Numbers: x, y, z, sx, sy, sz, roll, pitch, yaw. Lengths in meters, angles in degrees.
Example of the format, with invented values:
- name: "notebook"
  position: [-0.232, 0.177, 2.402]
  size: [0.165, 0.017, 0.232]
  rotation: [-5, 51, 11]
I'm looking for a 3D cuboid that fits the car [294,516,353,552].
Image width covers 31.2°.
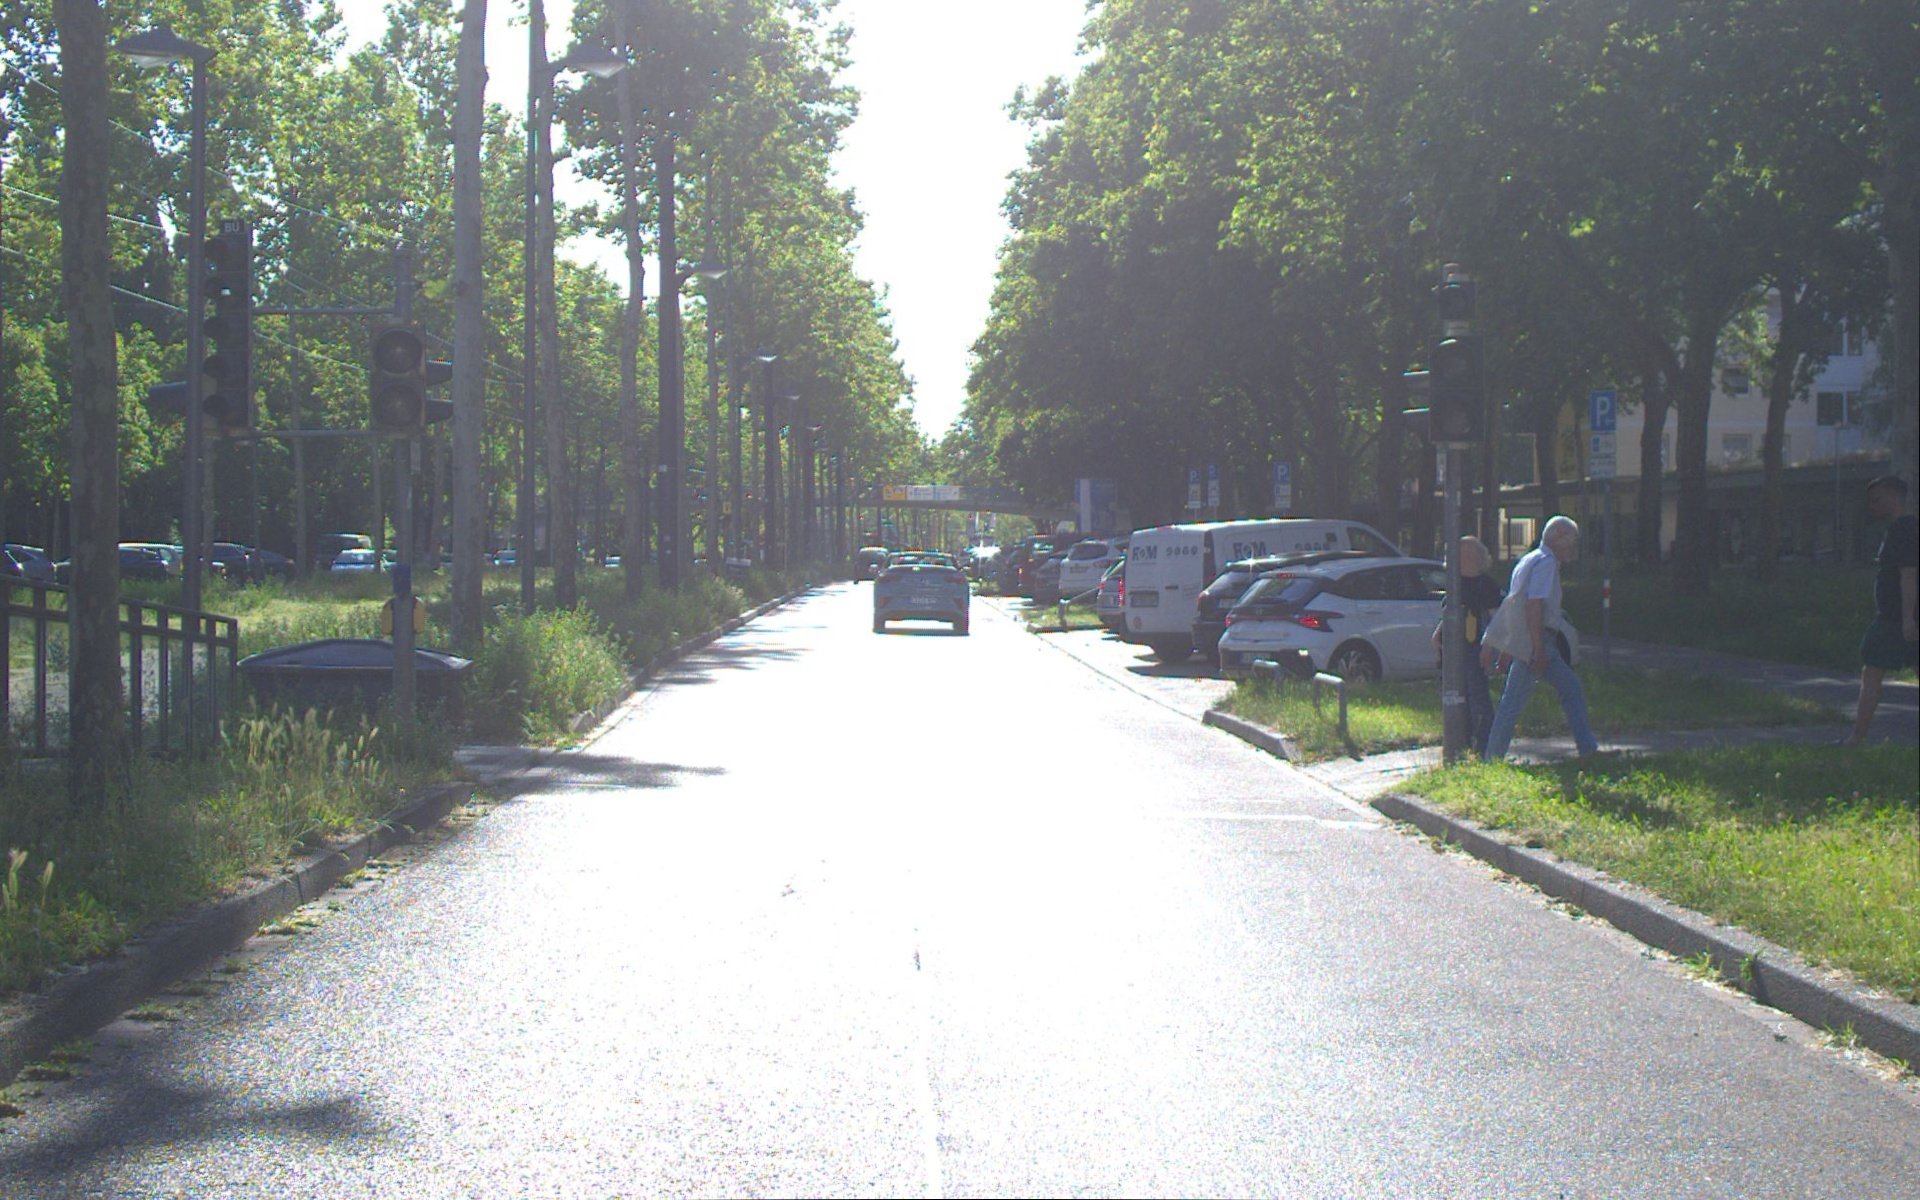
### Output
- name: "car"
  position: [-28.243, -2.921, 152.615]
  size: [1.872, 1.448, 3.574]
  rotation: [3, 1, 1]

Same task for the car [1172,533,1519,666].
- name: "car"
  position: [4.812, -0.033, 42.744]
  size: [3.986, 1.424, 1.799]
  rotation: [-3, 2, -32]

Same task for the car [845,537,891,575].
- name: "car"
  position: [-3.789, -1.818, 142.299]
  size: [1.849, 1.530, 3.866]
  rotation: [0, 1, -1]

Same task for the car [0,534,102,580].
- name: "car"
  position: [-28.504, -1.319, 105.000]
  size: [4.121, 1.333, 1.795]
  rotation: [-1, 3, -43]

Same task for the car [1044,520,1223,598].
- name: "car"
  position: [4.023, -0.949, 79.383]
  size: [4.017, 1.699, 1.760]
  rotation: [-2, 1, -42]

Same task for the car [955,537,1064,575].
- name: "car"
  position: [2.007, -1.760, 138.098]
  size: [4.318, 1.420, 1.855]
  rotation: [-2, 1, -44]

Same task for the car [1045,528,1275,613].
- name: "car"
  position: [3.602, -0.543, 61.401]
  size: [4.174, 1.407, 1.719]
  rotation: [-2, 1, -44]

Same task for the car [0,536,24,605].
- name: "car"
  position: [-20.294, -0.570, 68.664]
  size: [1.993, 1.384, 4.168]
  rotation: [0, 1, 1]

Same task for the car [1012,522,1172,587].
- name: "car"
  position: [3.176, -1.096, 82.389]
  size: [3.777, 1.465, 1.650]
  rotation: [-2, 1, -44]

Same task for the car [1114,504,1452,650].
- name: "car"
  position: [4.440, -0.337, 46.790]
  size: [4.657, 1.846, 1.830]
  rotation: [-2, 1, -41]

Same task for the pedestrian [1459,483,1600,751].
- name: "pedestrian"
  position: [3.729, 0.098, 22.481]
  size: [0.842, 1.716, 0.829]
  rotation: [0, 1, 14]

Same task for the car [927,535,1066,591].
- name: "car"
  position: [1.151, -1.178, 107.243]
  size: [4.308, 1.711, 1.635]
  rotation: [-1, 1, -40]

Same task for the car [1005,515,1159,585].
- name: "car"
  position: [3.317, -1.356, 93.033]
  size: [4.073, 1.804, 1.650]
  rotation: [-2, 1, -41]

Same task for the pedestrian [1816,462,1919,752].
- name: "pedestrian"
  position: [6.284, 0.036, 22.843]
  size: [0.800, 1.878, 0.926]
  rotation: [1, 2, 42]

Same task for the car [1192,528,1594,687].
- name: "car"
  position: [4.629, 0.049, 36.588]
  size: [3.986, 1.464, 1.761]
  rotation: [-3, 2, -32]

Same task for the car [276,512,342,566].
- name: "car"
  position: [-26.831, -2.509, 141.875]
  size: [1.645, 2.086, 4.915]
  rotation: [3, 1, 1]

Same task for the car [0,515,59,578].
- name: "car"
  position: [-25.953, -1.420, 90.328]
  size: [4.071, 1.601, 1.996]
  rotation: [-1, 3, -26]

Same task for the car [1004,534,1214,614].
- name: "car"
  position: [2.773, -0.494, 63.316]
  size: [3.928, 1.368, 1.587]
  rotation: [-2, 1, -44]

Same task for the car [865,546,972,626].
- name: "car"
  position: [-0.809, -0.287, 64.619]
  size: [1.922, 1.406, 4.001]
  rotation: [1, 1, -2]

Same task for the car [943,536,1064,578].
- name: "car"
  position: [1.640, -1.606, 127.946]
  size: [4.482, 1.438, 1.855]
  rotation: [-2, 1, -44]

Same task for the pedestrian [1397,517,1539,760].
- name: "pedestrian"
  position: [3.652, 0.270, 24.724]
  size: [0.710, 1.700, 0.654]
  rotation: [-2, 1, -35]
